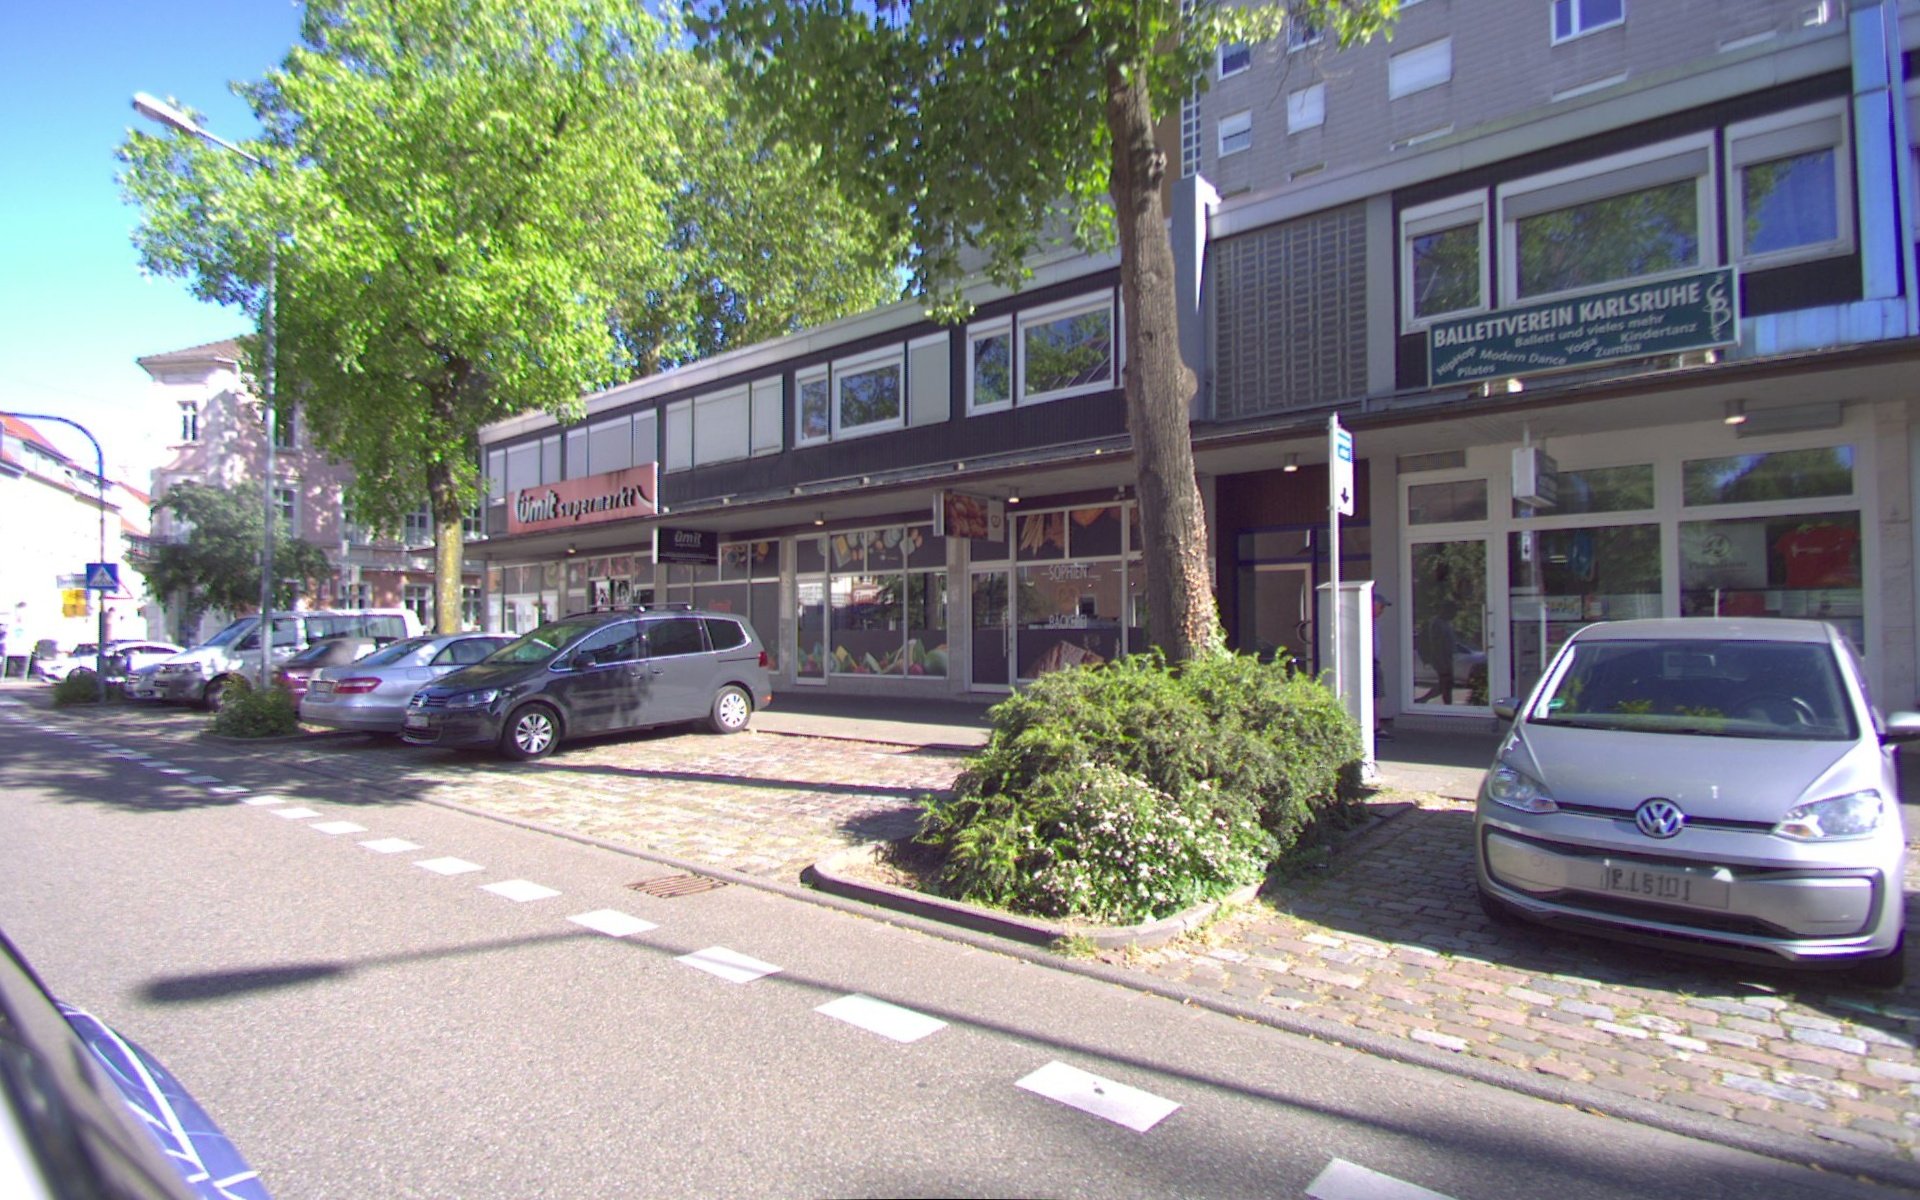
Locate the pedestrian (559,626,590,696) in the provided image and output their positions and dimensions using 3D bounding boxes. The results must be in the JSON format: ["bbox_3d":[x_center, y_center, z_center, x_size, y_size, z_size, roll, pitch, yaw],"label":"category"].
[{"bbox_3d":[-8.833,1.379,23.198,0.498,1.567,0.468,-2,-1,41],"label":"pedestrian"}]

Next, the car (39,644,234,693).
[{"bbox_3d":[-27.279,2.218,33.657,1.998,1.436,4.741,-2,-3,40],"label":"car"}]

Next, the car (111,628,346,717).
[{"bbox_3d":[-16.273,1.554,22.683,1.756,1.805,3.947,-2,-3,39],"label":"car"}]

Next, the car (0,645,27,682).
[{"bbox_3d":[-40.792,2.646,42.256,1.966,1.475,4.011,1,-3,-32],"label":"car"}]

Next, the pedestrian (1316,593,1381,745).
[{"bbox_3d":[4.401,0.770,11.469,0.532,1.678,0.439,-2,-3,41],"label":"pedestrian"}]

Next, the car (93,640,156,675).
[{"bbox_3d":[-42.259,2.889,51.276,1.482,1.674,4.013,1,-3,-25],"label":"car"}]

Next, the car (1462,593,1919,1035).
[{"bbox_3d":[4.083,0.777,5.387,1.671,1.573,3.549,-2,-1,41],"label":"car"}]

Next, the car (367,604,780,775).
[{"bbox_3d":[-4.774,0.981,13.161,1.872,1.791,4.722,-2,-1,38],"label":"car"}]

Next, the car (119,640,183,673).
[{"bbox_3d":[-44.202,3.060,55.386,1.827,1.674,4.013,1,-3,-25],"label":"car"}]

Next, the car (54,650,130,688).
[{"bbox_3d":[-40.113,3.158,46.847,1.645,1.650,4.061,0,-2,-26],"label":"car"}]

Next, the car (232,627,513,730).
[{"bbox_3d":[-10.356,1.309,18.082,1.735,1.431,3.949,-2,0,38],"label":"car"}]

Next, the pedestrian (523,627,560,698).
[{"bbox_3d":[-9.440,1.393,22.809,0.662,1.567,0.522,-2,-1,41],"label":"pedestrian"}]

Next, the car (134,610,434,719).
[{"bbox_3d":[-14.030,1.247,21.299,1.907,1.984,4.934,-2,-2,38],"label":"car"}]

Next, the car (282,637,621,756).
[{"bbox_3d":[-7.051,1.259,14.380,1.757,1.409,3.948,-2,-3,38],"label":"car"}]
